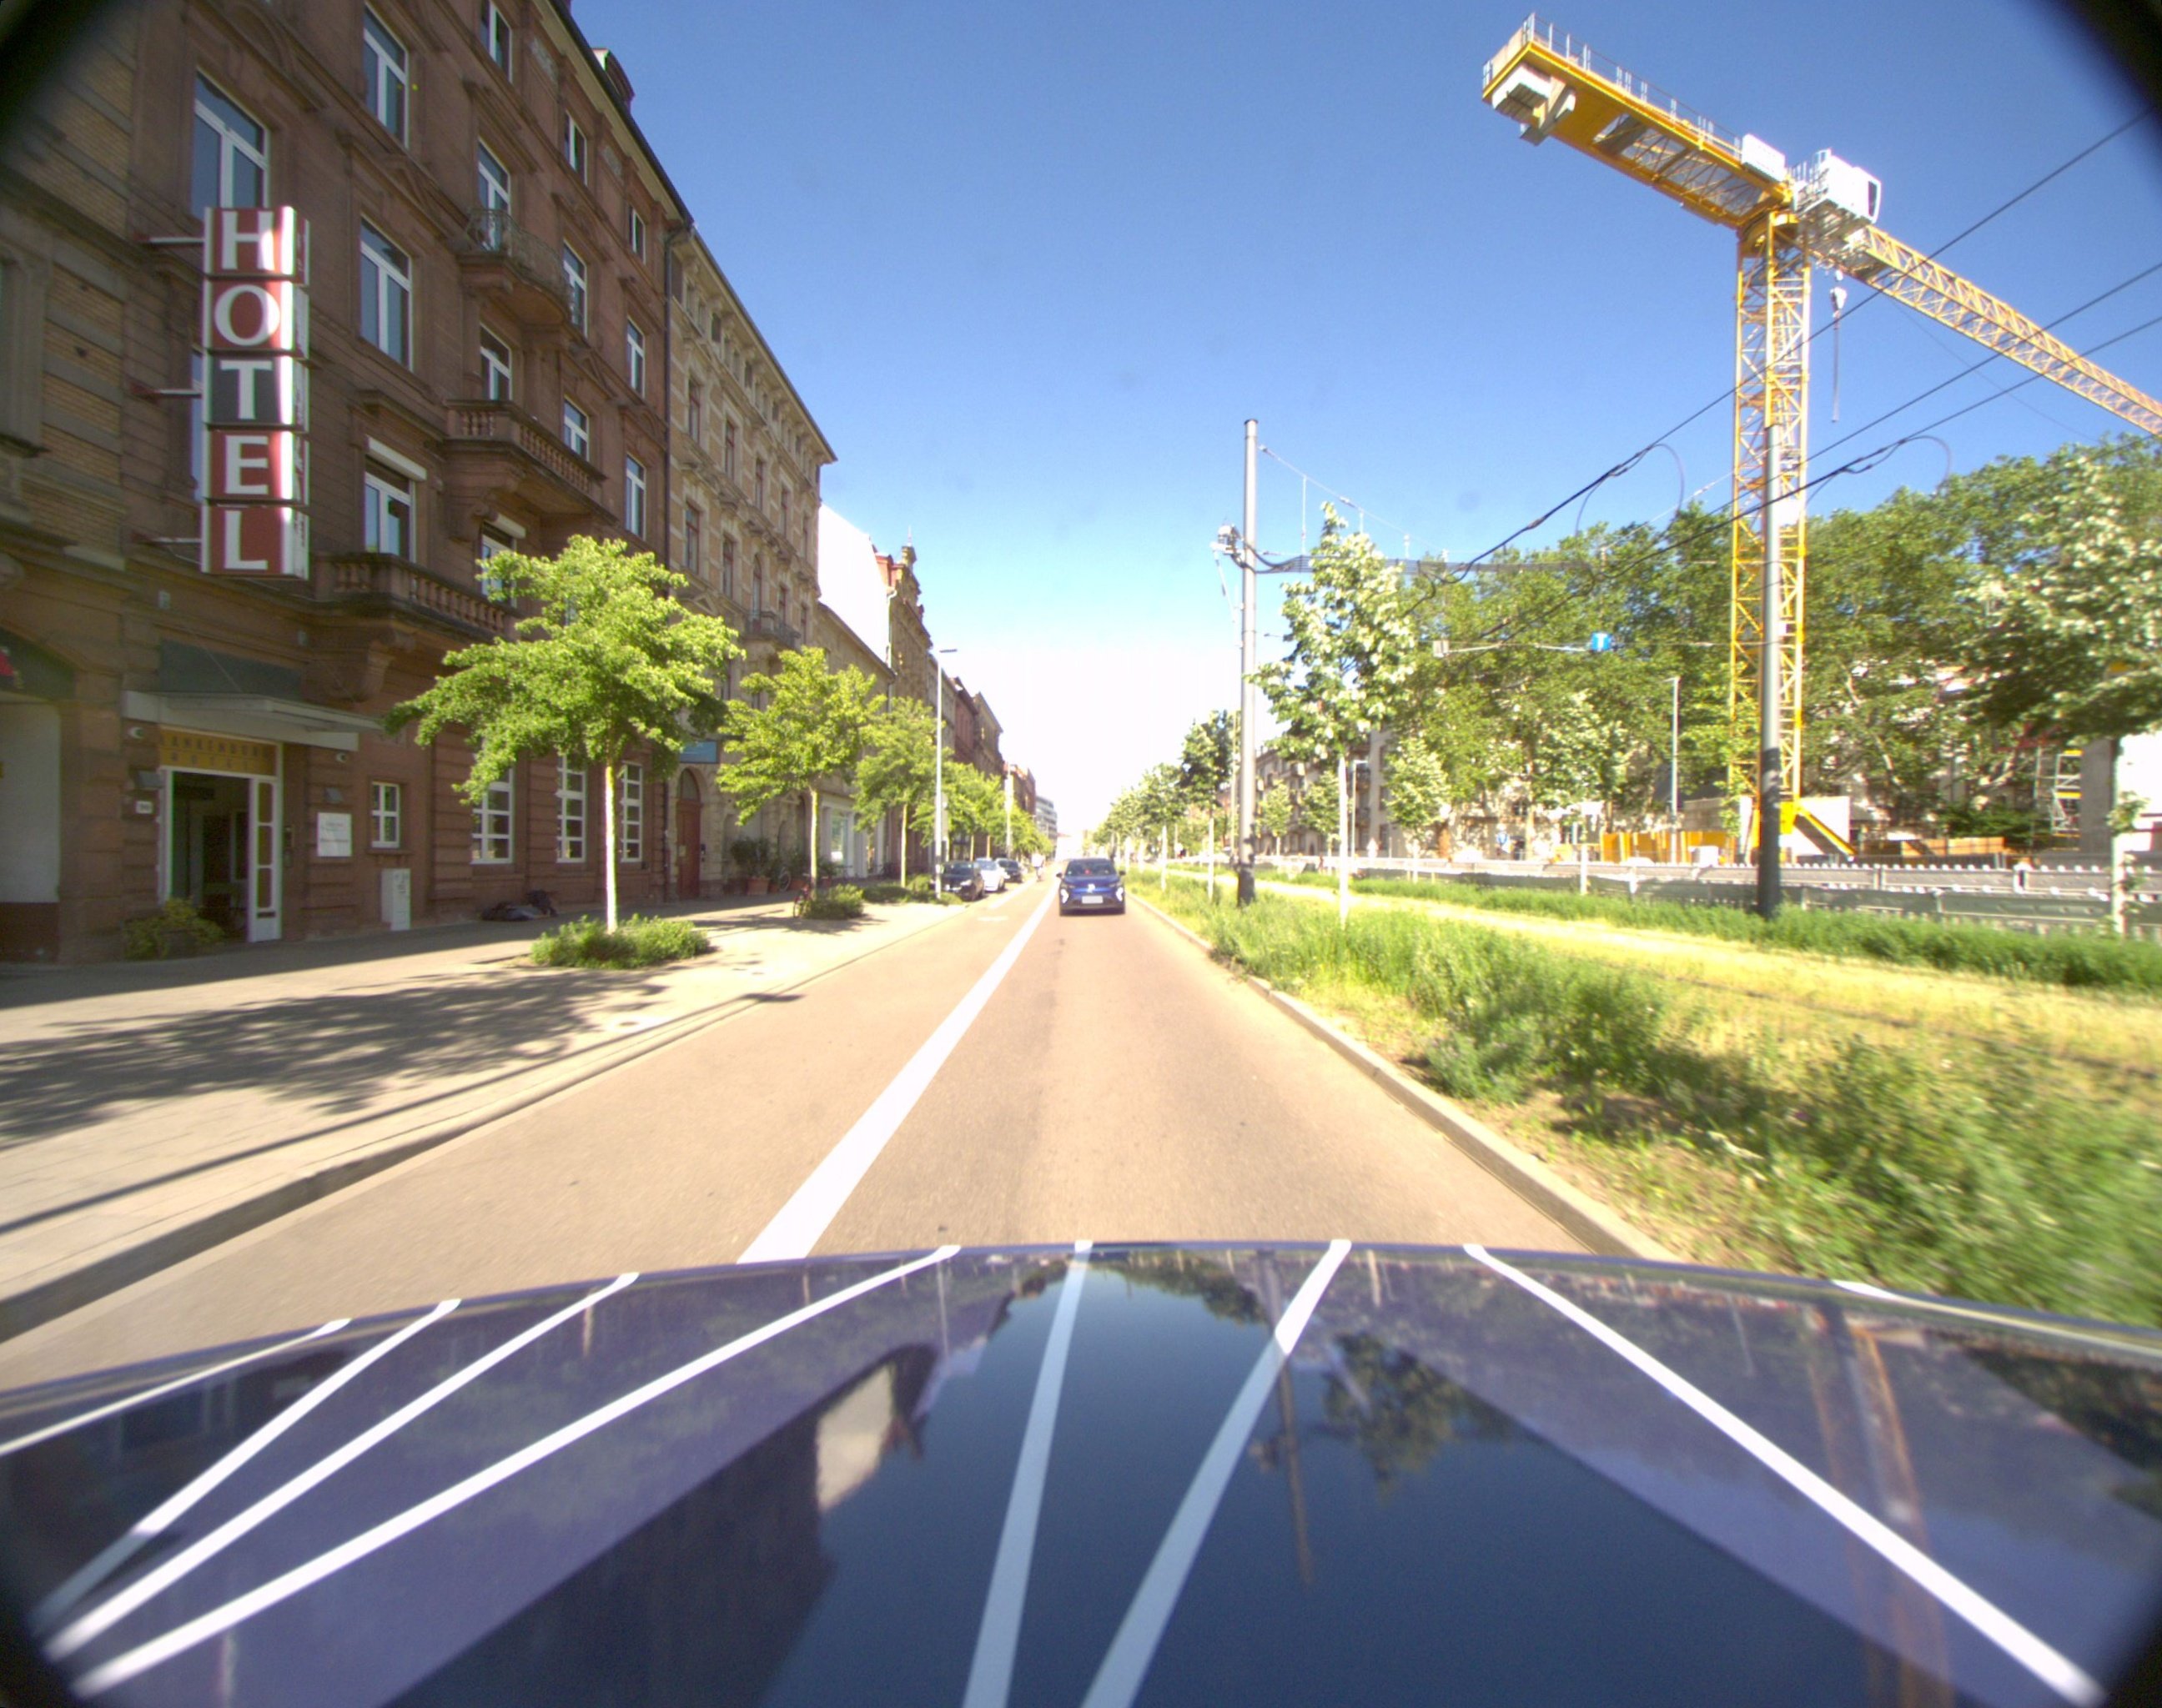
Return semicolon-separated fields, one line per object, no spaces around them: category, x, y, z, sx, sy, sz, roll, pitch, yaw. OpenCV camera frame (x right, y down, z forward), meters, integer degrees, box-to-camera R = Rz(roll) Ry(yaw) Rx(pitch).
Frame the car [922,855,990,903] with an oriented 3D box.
car;-4.660;0.897;28.929;1.889;1.560;4.219;2;1;-1

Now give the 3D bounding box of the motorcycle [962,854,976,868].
motorcycle;-10.556;0.632;71.525;0.868;1.259;2.981;-1;1;-1

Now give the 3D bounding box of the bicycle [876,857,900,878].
bicycle;-10.902;0.753;43.008;0.878;1.098;2.181;3;0;-3

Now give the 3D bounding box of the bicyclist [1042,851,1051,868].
bicyclist;-3.502;0.592;77.490;0.854;1.717;0.988;-1;1;-1

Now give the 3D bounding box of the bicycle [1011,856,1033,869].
bicycle;-5.588;0.836;71.900;2.050;1.100;0.610;3;1;-6

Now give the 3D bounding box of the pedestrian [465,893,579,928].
pedestrian;-10.997;1.102;15.053;0.775;0.550;2.007;1;0;0

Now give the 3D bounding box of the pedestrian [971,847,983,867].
pedestrian;-10.161;0.272;74.074;0.891;1.909;1.098;2;1;5

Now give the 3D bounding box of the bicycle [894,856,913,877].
bicycle;-10.739;0.739;46.074;0.750;1.194;1.800;1;1;0

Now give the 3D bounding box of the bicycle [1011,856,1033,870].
bicycle;-5.580;0.845;71.492;1.980;1.117;0.481;4;0;-6

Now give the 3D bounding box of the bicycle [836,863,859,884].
bicycle;-11.176;0.927;36.422;0.448;0.939;2.012;-1;-1;0

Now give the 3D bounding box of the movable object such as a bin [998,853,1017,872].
movable object such as a bin;-5.896;0.724;61.242;1.274;1.454;1.645;-1;-2;4

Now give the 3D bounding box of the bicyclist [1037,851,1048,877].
bicyclist;-2.781;0.685;54.438;0.725;1.807;1.090;-1;1;-2

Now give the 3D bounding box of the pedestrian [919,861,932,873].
pedestrian;-11.060;0.938;54.022;0.873;0.814;0.979;-1;1;-14

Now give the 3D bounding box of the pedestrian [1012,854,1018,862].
pedestrian;-9.447;0.564;108.802;0.719;1.176;0.881;0;1;-1

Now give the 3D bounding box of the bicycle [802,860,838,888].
bicycle;-10.925;0.822;31.874;0.723;1.084;2.198;1;0;0

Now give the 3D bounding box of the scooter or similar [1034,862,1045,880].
scooter or similar;-2.750;1.132;50.480;0.647;1.151;1.150;-1;1;0

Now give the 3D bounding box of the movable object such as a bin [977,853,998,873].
movable object such as a bin;-7.496;0.697;61.060;1.377;1.487;1.748;3;1;1

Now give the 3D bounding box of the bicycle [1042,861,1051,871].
bicycle;-3.491;1.247;77.493;0.830;1.000;1.952;-1;0;-1

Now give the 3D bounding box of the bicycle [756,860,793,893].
bicycle;-11.091;0.793;27.528;0.482;1.084;2.056;1;0;0

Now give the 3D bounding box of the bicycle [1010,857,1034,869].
bicycle;-5.687;0.878;73.329;2.293;1.096;0.485;2;1;-15

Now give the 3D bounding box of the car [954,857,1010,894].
car;-4.547;0.933;35.666;1.956;1.486;5.104;2;0;0

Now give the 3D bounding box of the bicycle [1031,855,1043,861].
bicycle;-7.481;0.722;130.234;1.905;0.906;0.592;2;2;8

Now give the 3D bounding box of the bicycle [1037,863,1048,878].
bicycle;-2.772;1.185;54.447;0.725;1.000;1.952;-1;0;-3

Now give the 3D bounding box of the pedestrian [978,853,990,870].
pedestrian;-9.456;0.768;74.310;0.974;1.629;0.992;1;0;0

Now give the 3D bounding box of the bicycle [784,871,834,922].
bicycle;-6.784;1.021;19.058;0.652;1.113;2.171;1;1;-6

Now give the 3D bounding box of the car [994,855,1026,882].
car;-4.479;0.907;48.374;1.770;1.468;4.446;2;1;-3

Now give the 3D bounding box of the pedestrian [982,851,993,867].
pedestrian;-9.954;0.560;81.007;0.972;1.682;1.114;2;1;1

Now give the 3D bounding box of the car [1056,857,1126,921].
car;0.245;0.910;22.030;1.758;1.576;4.420;-2;0;-1

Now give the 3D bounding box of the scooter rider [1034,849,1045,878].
scooter rider;-2.755;0.616;50.467;0.662;1.856;0.898;-1;1;0

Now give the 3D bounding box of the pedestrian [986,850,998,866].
pedestrian;-8.787;0.431;75.023;0.953;1.557;1.080;1;0;-1
